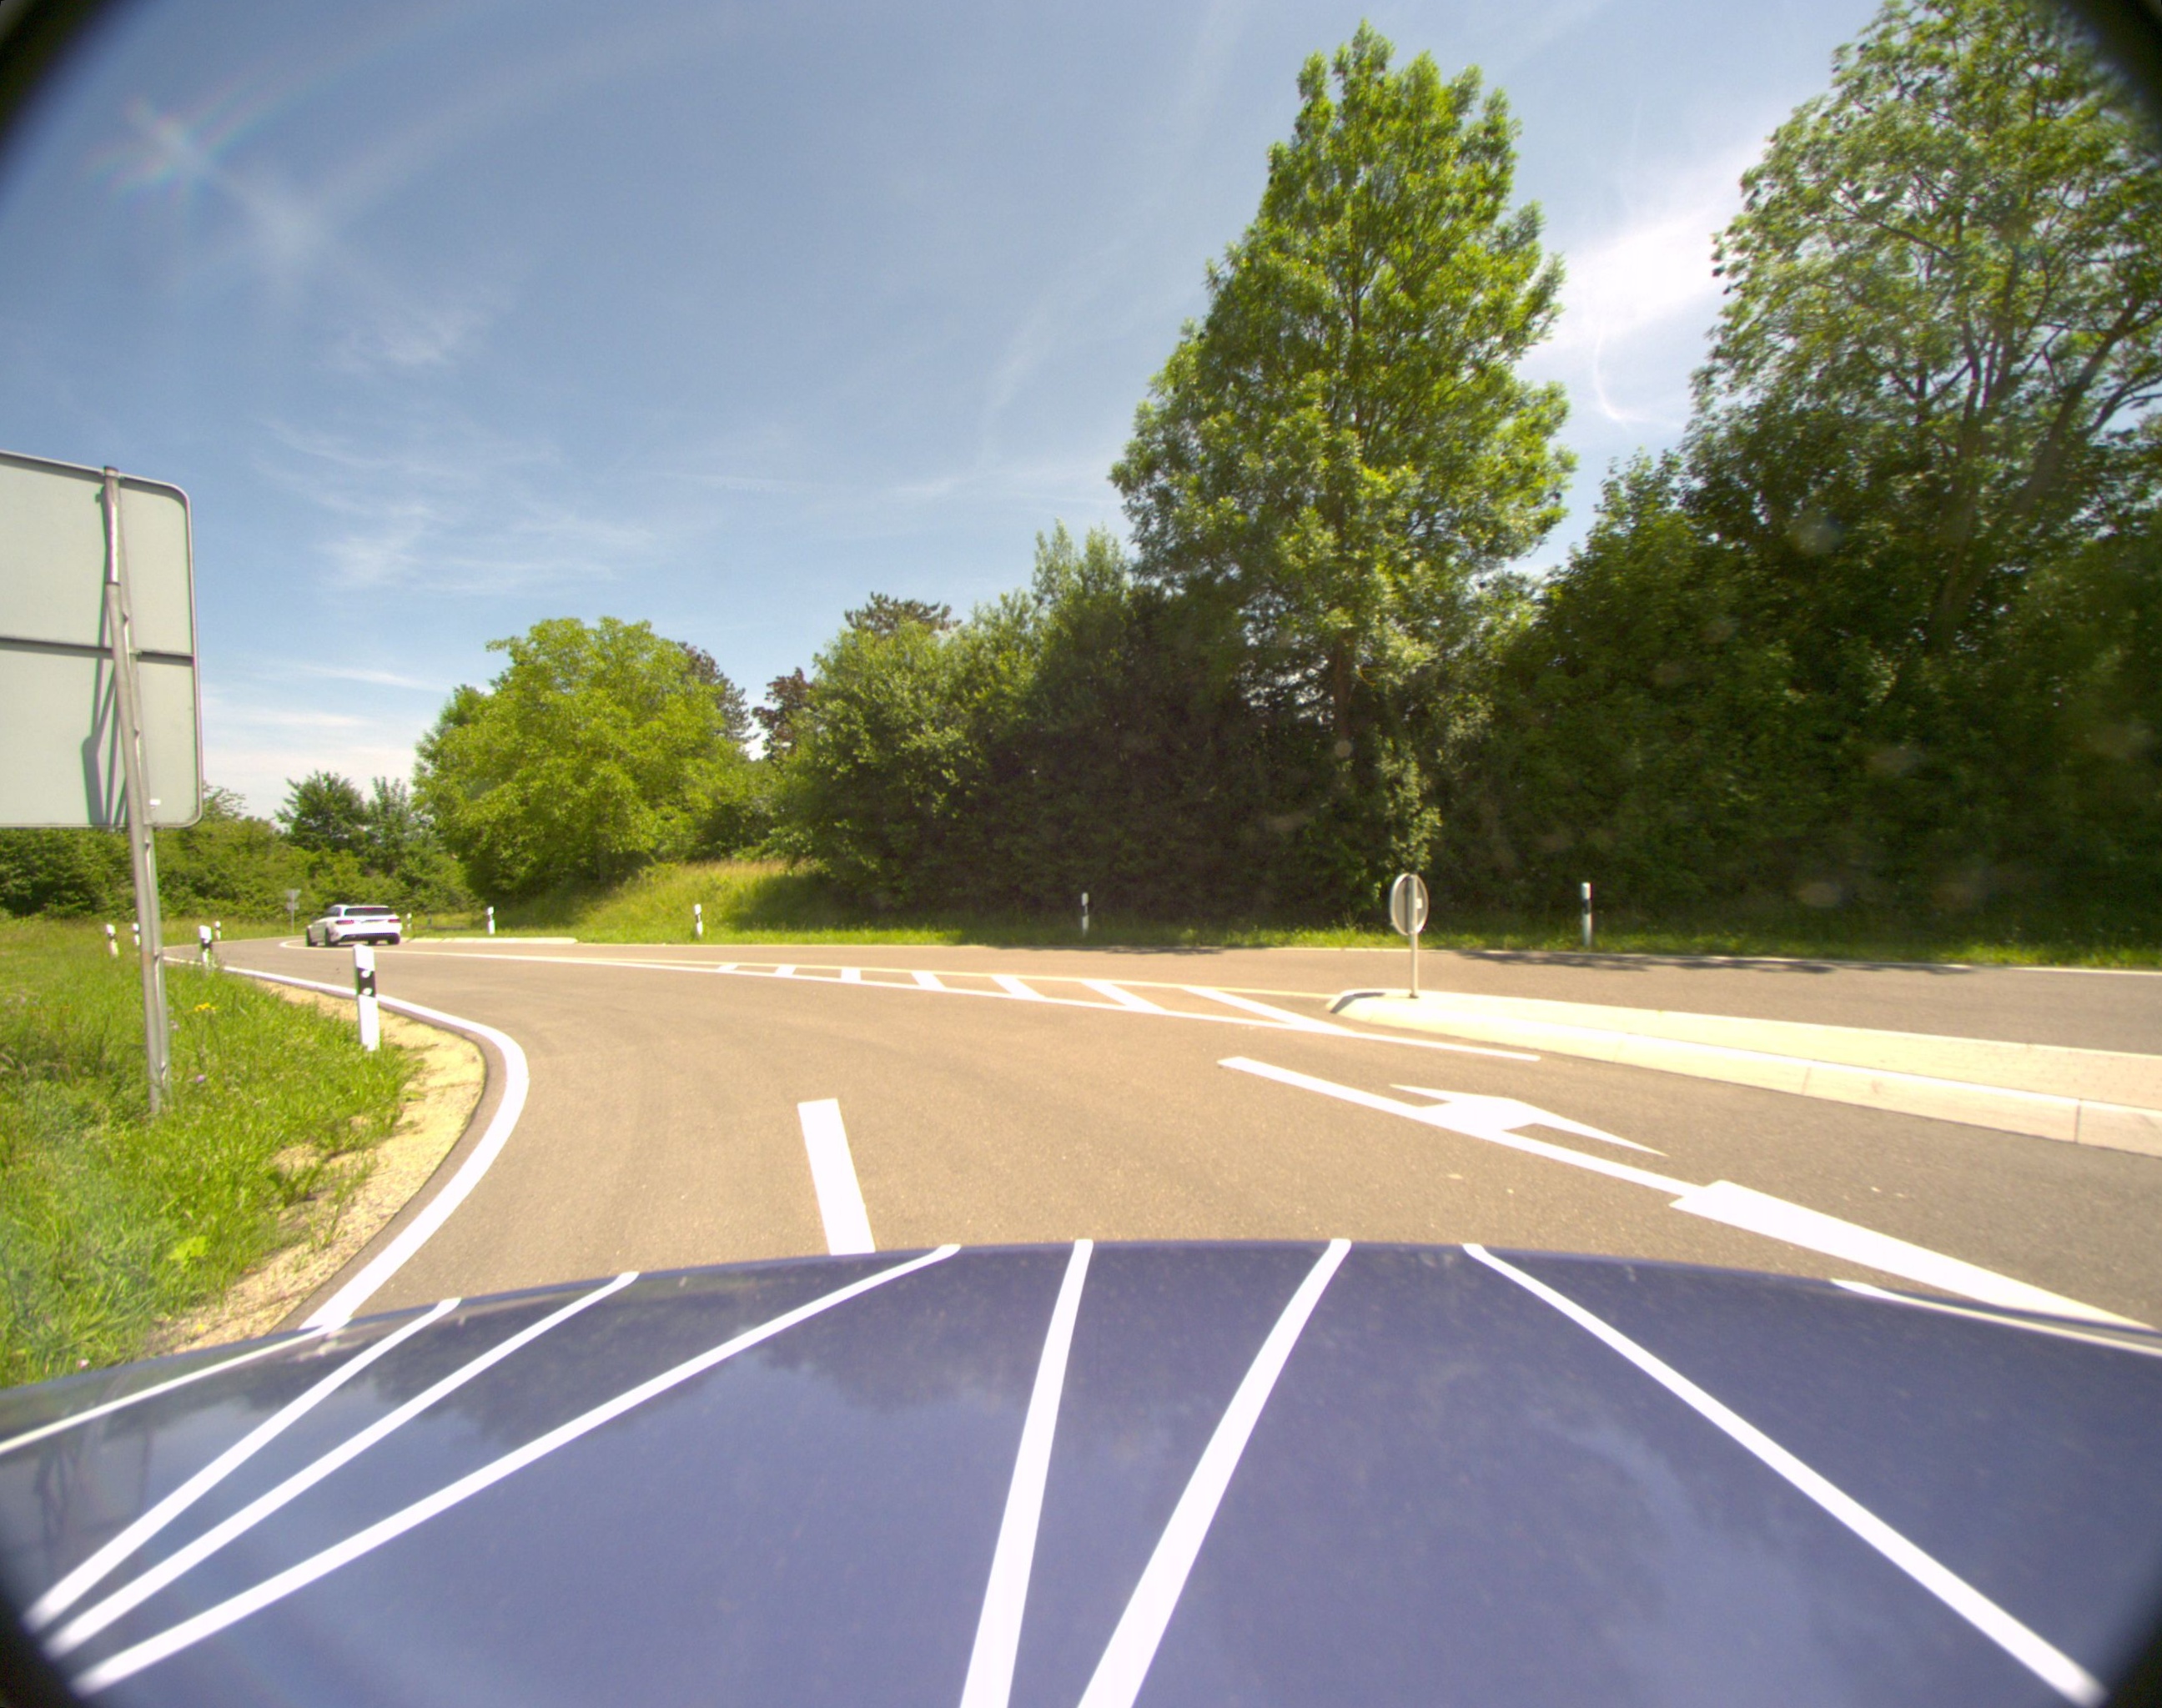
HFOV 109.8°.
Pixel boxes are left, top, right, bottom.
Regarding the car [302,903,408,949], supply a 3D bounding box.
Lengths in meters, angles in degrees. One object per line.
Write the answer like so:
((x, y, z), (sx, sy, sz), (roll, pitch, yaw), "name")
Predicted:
((-25.734, 2.510, 26.857), (5.320, 1.403, 1.814), (-4, -3, 36), "car")
